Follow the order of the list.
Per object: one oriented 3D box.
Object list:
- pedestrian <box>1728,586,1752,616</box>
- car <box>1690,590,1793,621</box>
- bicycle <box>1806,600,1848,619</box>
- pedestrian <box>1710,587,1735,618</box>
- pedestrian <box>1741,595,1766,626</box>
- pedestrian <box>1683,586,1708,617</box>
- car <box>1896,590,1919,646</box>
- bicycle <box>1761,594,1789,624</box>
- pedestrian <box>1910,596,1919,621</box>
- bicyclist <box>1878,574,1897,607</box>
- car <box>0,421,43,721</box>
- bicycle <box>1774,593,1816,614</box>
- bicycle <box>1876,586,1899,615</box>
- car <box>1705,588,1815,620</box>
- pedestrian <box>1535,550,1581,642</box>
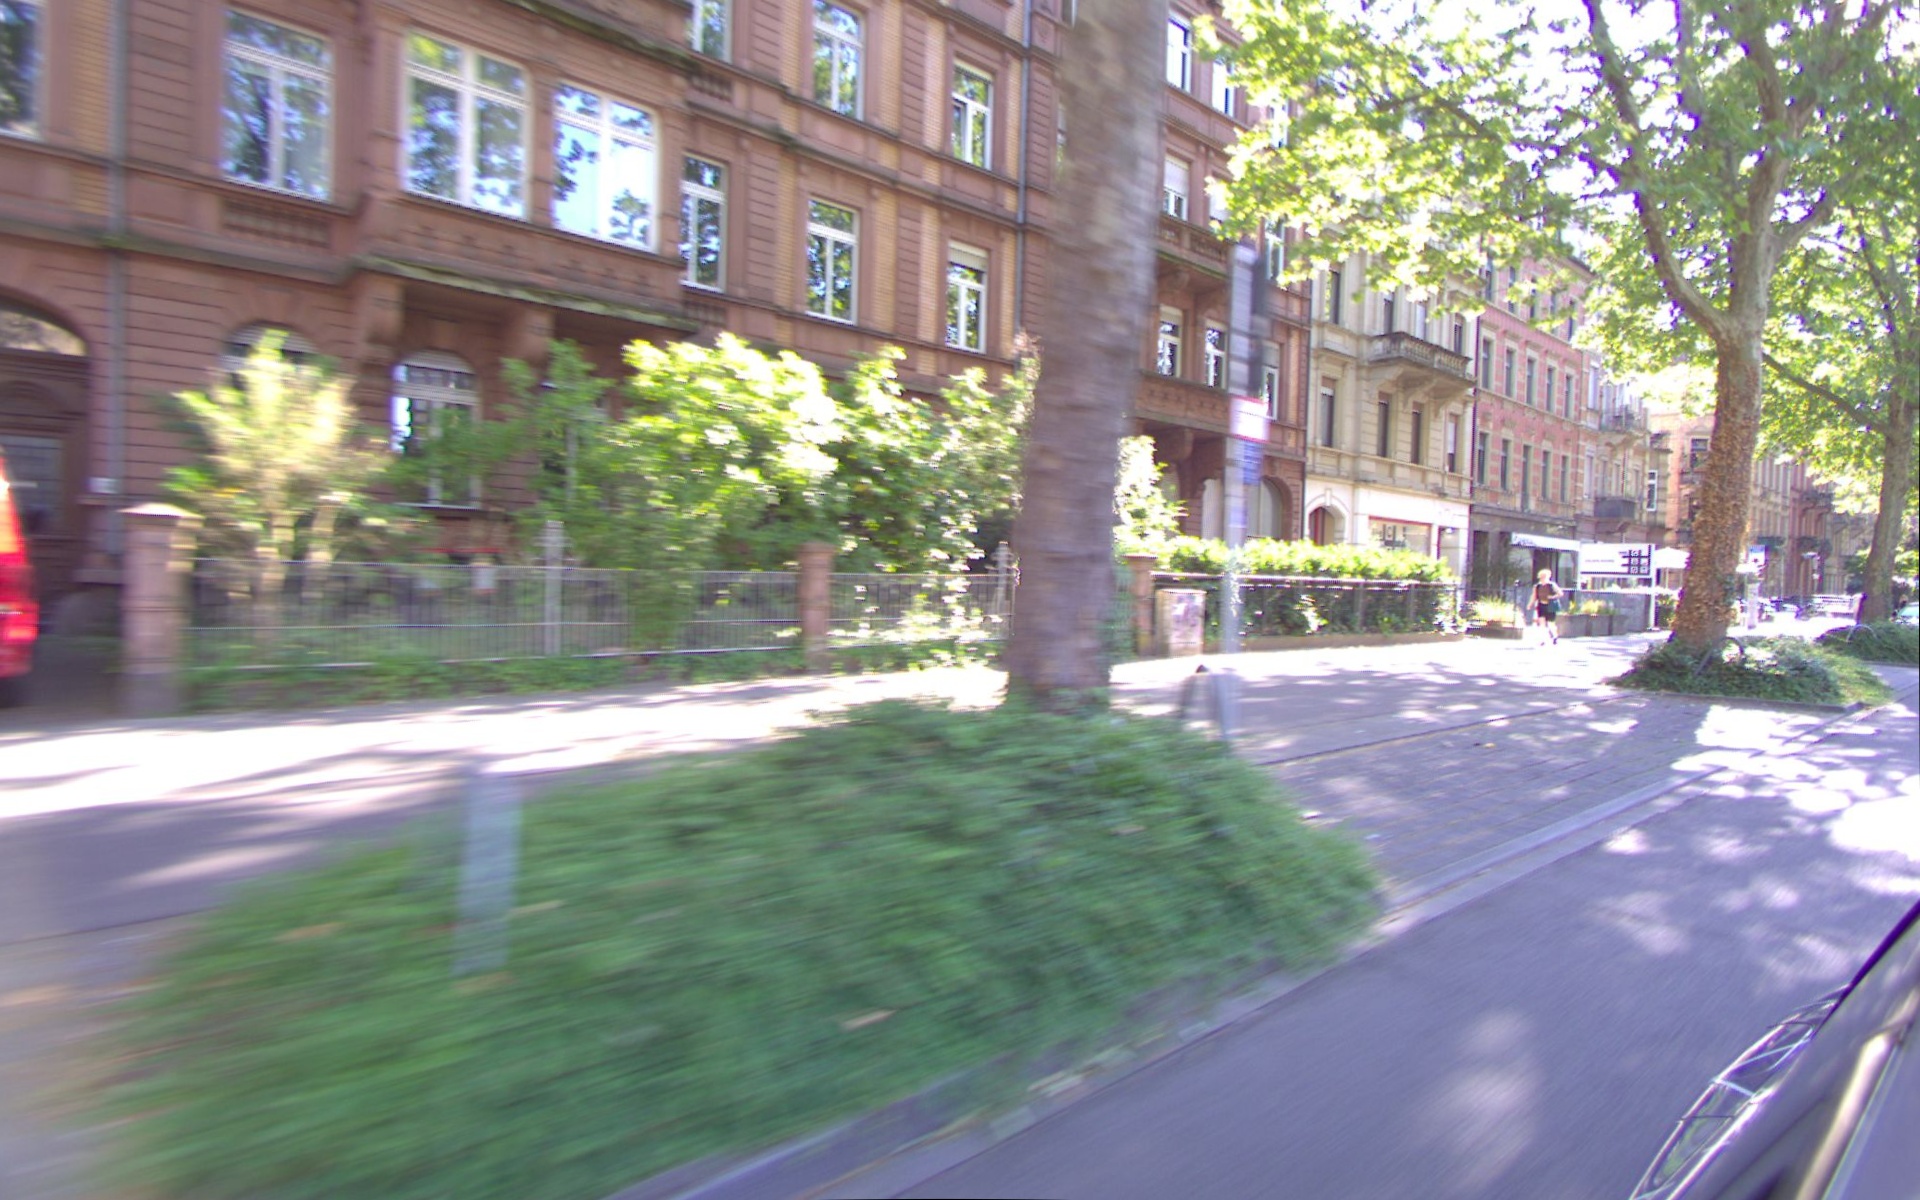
[{"bbox_3d":[34.120,0.040,44.273,0.651,1.316,0.714,0,1,-41],"label":"pedestrian"},{"bbox_3d":[40.585,0.268,52.626,1.714,1.382,3.992,2,1,-43],"label":"car"},{"bbox_3d":[47.283,0.499,55.212,1.688,0.928,0.594,3,2,39],"label":"bicycle"},{"bbox_3d":[33.158,0.118,43.989,0.651,1.316,0.714,0,1,-41],"label":"pedestrian"},{"bbox_3d":[35.158,0.456,44.843,0.651,1.316,0.714,0,1,-41],"label":"pedestrian"},{"bbox_3d":[31.820,0.077,43.783,0.651,1.316,0.714,1,1,-39],"label":"pedestrian"},{"bbox_3d":[28.549,0.518,29.117,4.719,1.555,1.736,0,2,-40],"label":"car"},{"bbox_3d":[32.626,0.360,40.515,1.863,1.157,0.476,0,3,-41],"label":"bicycle"},{"bbox_3d":[63.926,0.582,67.612,0.607,1.648,0.531,2,2,-41],"label":"pedestrian"},{"bbox_3d":[40.582,-0.408,44.261,0.633,1.398,0.543,2,-3,-42],"label":"bicyclist"},{"bbox_3d":[-8.508,-0.353,7.885,1.966,2.038,4.185,0,4,-42],"label":"car"},{"bbox_3d":[49.950,0.190,60.537,0.467,1.168,1.868,1,2,-37],"label":"bicycle"},{"bbox_3d":[40.548,0.023,44.226,2.188,1.193,0.561,2,-3,-43],"label":"bicycle"},{"bbox_3d":[44.318,0.203,56.153,4.604,1.567,1.892,2,1,45],"label":"car"},{"bbox_3d":[13.598,-0.104,23.013,0.622,2.038,0.674,1,1,-41],"label":"pedestrian"}]
